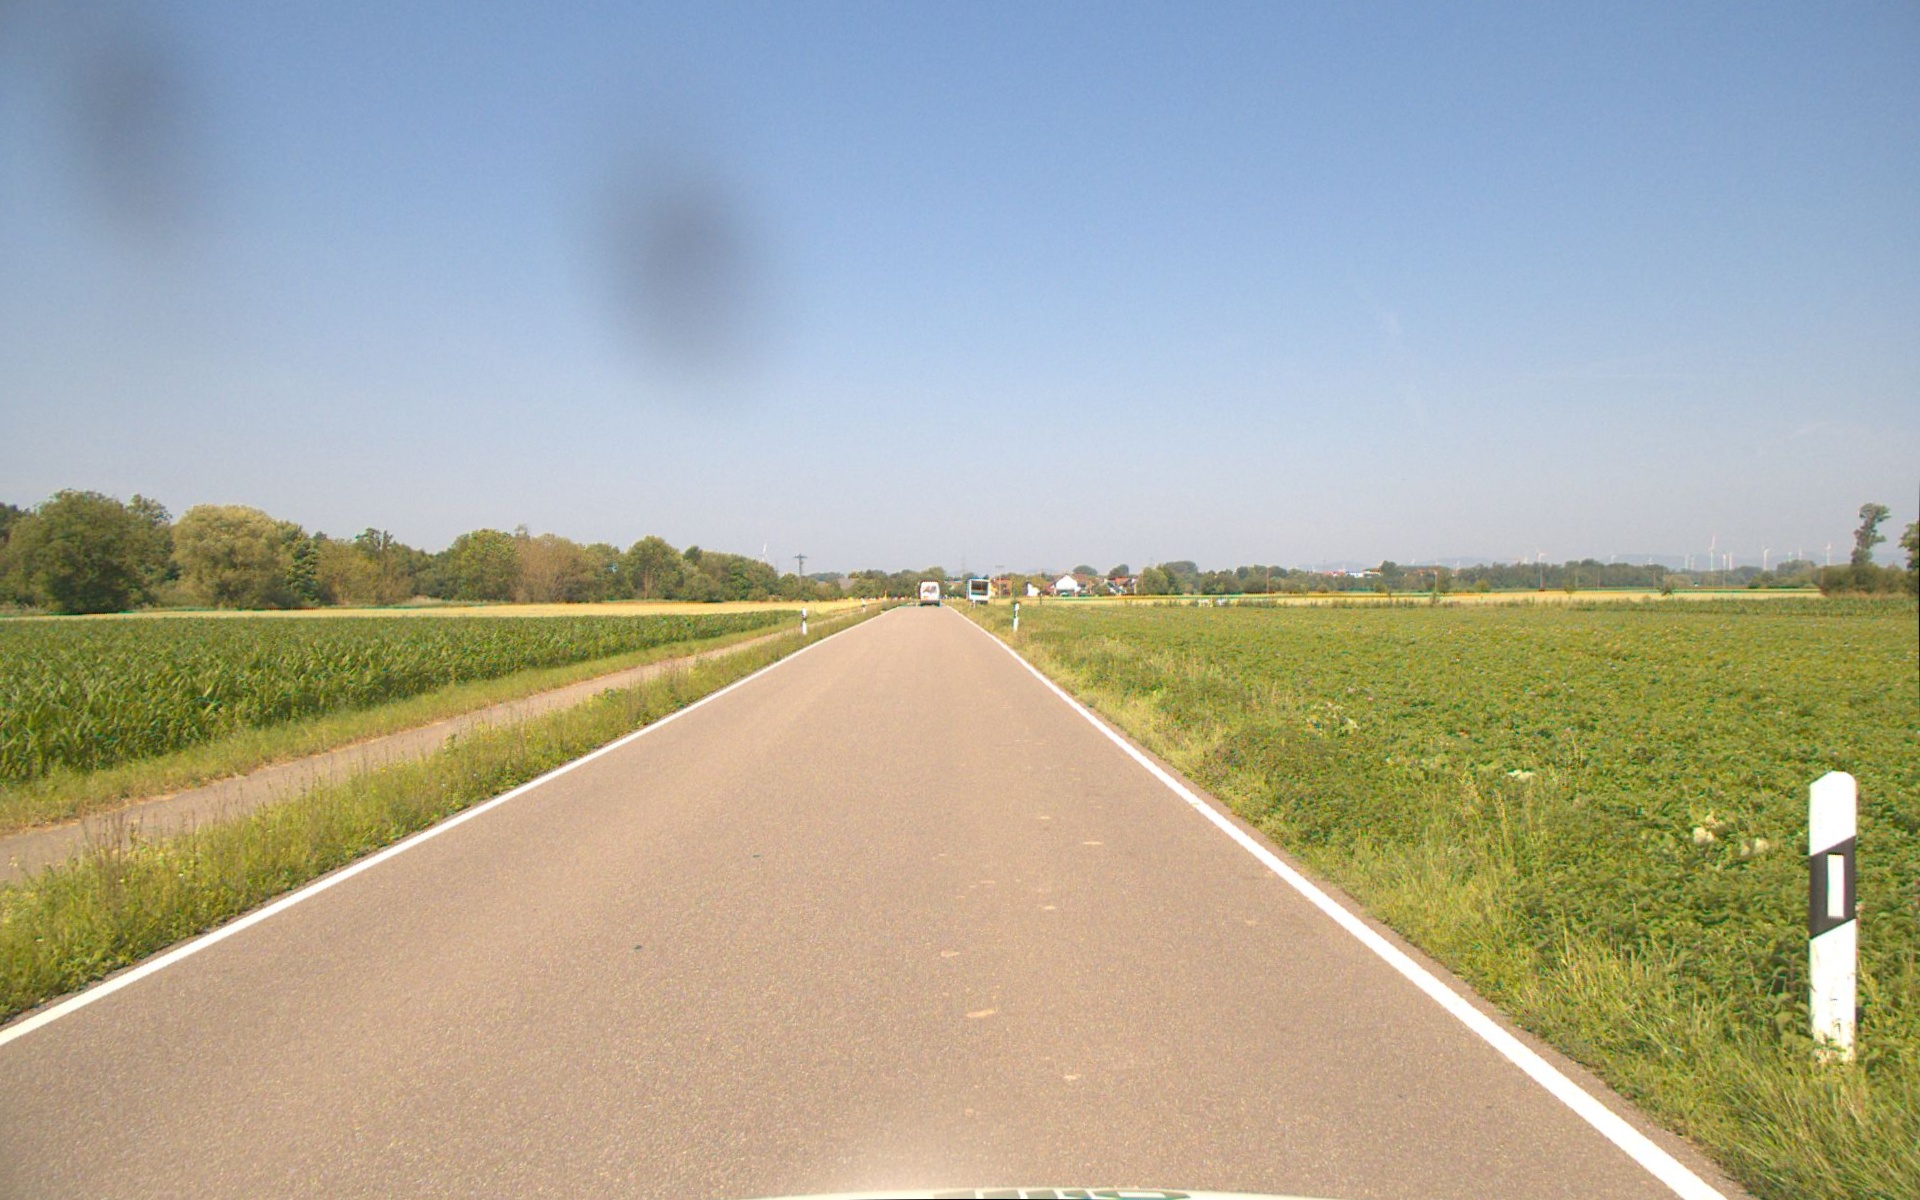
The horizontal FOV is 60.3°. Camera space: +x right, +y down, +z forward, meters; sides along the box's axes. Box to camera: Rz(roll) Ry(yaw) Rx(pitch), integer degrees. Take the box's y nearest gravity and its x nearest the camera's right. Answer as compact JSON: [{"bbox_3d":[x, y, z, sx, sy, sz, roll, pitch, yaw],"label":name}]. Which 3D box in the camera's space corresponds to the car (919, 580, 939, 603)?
[{"bbox_3d":[-3.225,-0.841,171.692,2.064,2.344,5.494,1,0,-1],"label":"car"}]

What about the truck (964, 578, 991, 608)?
[{"bbox_3d":[1.869,-0.696,175.858,2.289,2.994,7.004,2,0,-3],"label":"truck"}]
